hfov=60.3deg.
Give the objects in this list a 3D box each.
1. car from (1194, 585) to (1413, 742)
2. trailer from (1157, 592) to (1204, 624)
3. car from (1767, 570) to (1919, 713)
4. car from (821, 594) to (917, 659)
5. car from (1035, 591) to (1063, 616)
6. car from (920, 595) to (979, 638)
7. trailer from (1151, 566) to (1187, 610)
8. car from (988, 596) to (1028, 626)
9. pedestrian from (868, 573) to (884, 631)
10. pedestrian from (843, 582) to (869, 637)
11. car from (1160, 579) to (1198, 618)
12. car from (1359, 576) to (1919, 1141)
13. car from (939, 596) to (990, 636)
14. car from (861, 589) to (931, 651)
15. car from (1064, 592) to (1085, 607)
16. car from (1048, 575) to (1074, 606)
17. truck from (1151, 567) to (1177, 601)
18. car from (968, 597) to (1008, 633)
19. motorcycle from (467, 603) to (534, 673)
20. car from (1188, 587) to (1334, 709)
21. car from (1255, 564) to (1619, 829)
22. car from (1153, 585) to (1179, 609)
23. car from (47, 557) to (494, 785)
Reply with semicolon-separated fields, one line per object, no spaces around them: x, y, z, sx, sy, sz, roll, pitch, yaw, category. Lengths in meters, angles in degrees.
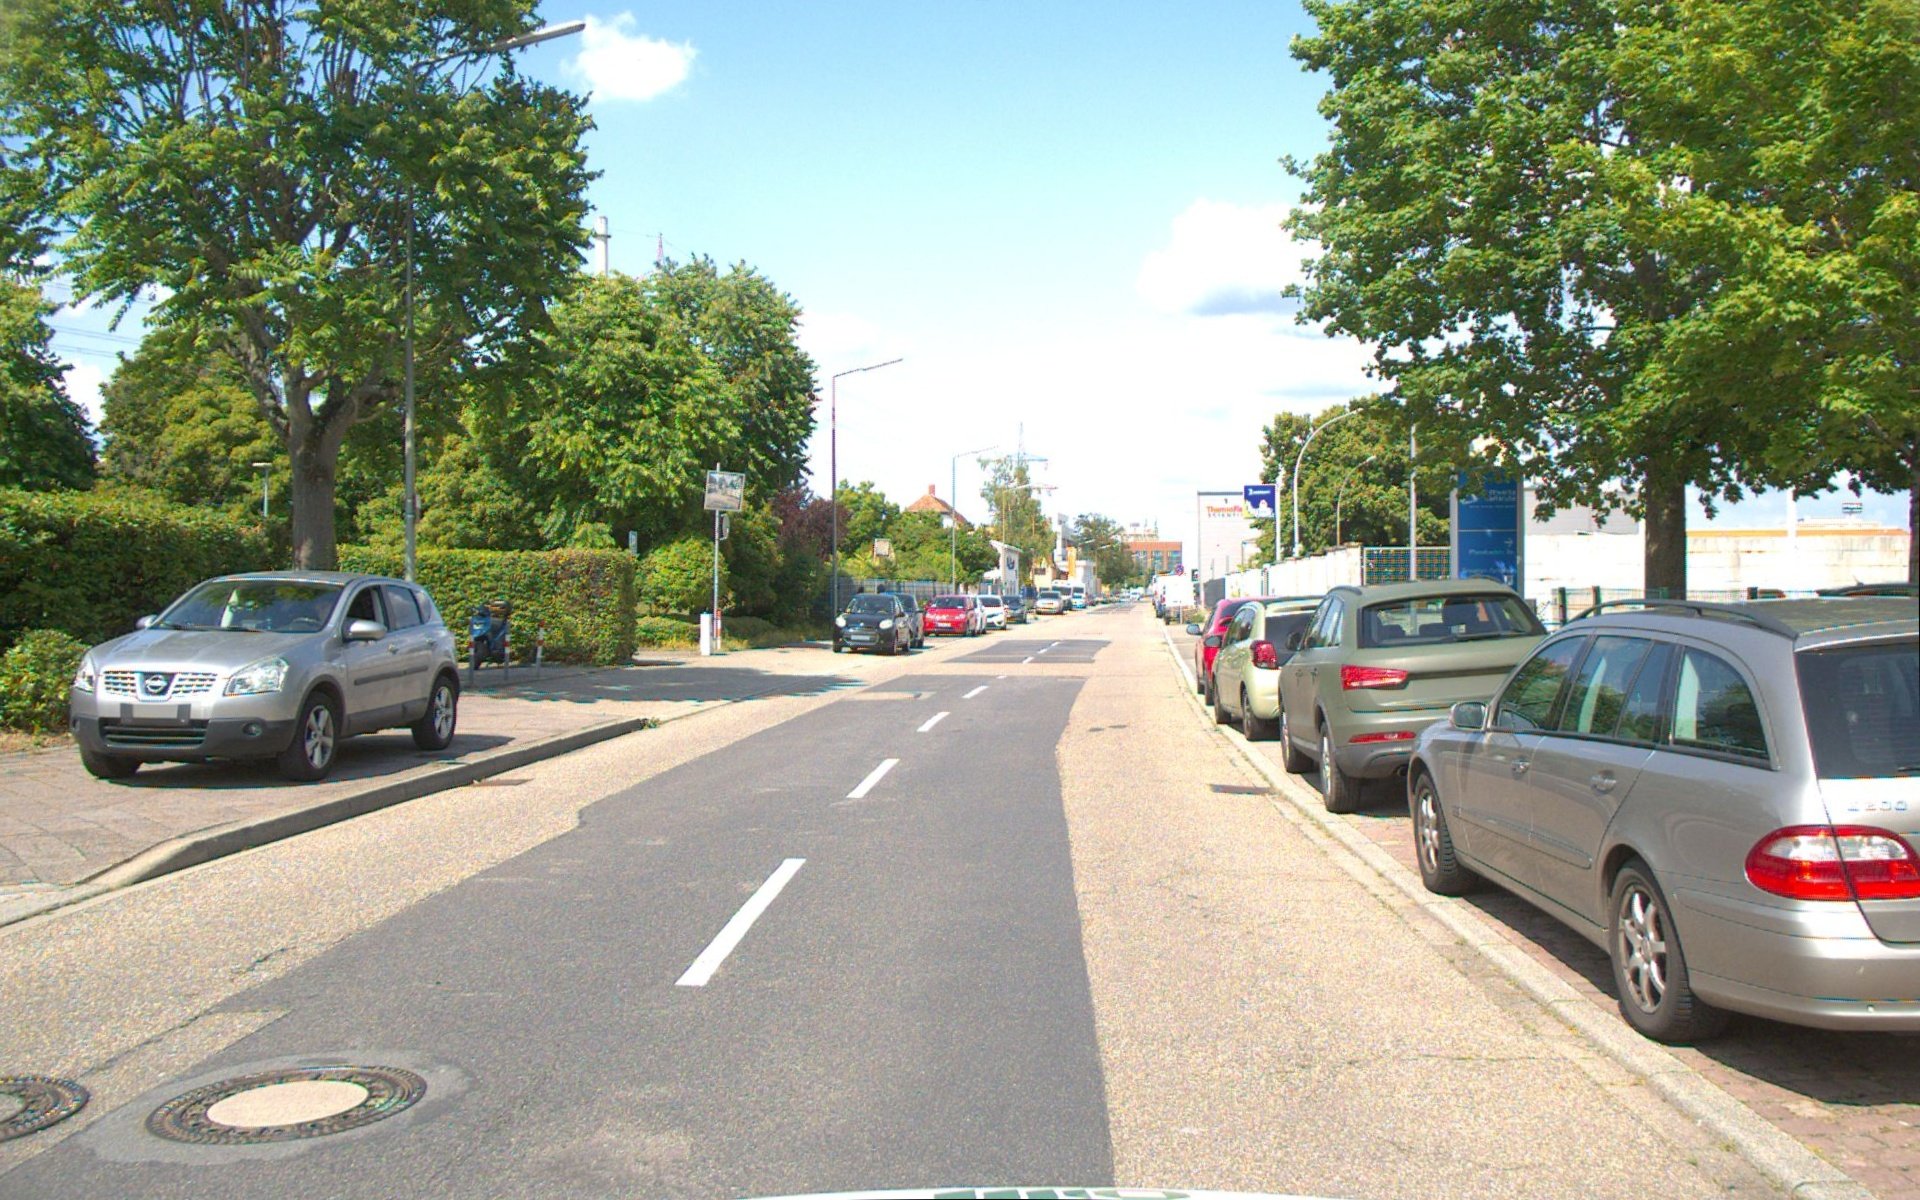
3.812;0.659;18.974;1.665;1.512;3.807;-4;0;0;car
10.841;0.418;81.603;1.713;1.442;4.550;-3;0;1;trailer
12.134;0.452;19.683;4.119;1.621;1.911;-1;0;6;car
-2.340;0.648;43.522;1.806;1.534;4.003;3;1;6;car
6.642;0.254;123.034;1.753;1.749;4.755;2;0;6;car
-0.346;0.579;60.352;1.631;1.492;3.746;1;0;7;car
13.988;-0.783;110.949;2.158;2.784;6.226;-3;-1;6;trailer
2.500;0.530;85.678;1.767;1.443;4.499;2;0;5;car
-2.797;0.080;55.263;0.441;1.927;0.678;0;-1;6;pedestrian
-3.455;0.313;54.943;0.693;1.832;0.916;0;-1;6;pedestrian
12.129;-0.089;92.045;1.951;2.049;5.654;-1;0;6;car
3.284;0.696;7.160;1.837;1.502;5.168;-3;0;0;car
0.199;0.610;65.110;1.610;1.503;4.031;0;0;6;car
-1.845;0.545;48.379;1.616;1.674;3.275;3;1;4;car
11.445;-0.004;165.153;1.758;1.422;4.505;1;0;8;car
8.916;-0.819;145.552;1.987;2.602;6.661;2;0;5;car
21.316;-1.662;173.043;2.407;3.350;6.823;-5;-1;7;truck
1.286;0.634;74.139;1.586;1.549;4.177;0;0;4;car
-8.623;0.695;31.109;0.521;1.241;2.087;0;0;5;motorcycle
4.278;0.627;24.057;1.717;1.512;4.228;-4;0;6;car
3.549;0.635;13.198;1.794;1.636;4.571;-4;0;4;car
16.063;-0.270;129.269;1.894;1.723;4.683;-3;0;6;car
-5.553;0.504;14.032;1.721;1.601;4.479;1;0;3;car
